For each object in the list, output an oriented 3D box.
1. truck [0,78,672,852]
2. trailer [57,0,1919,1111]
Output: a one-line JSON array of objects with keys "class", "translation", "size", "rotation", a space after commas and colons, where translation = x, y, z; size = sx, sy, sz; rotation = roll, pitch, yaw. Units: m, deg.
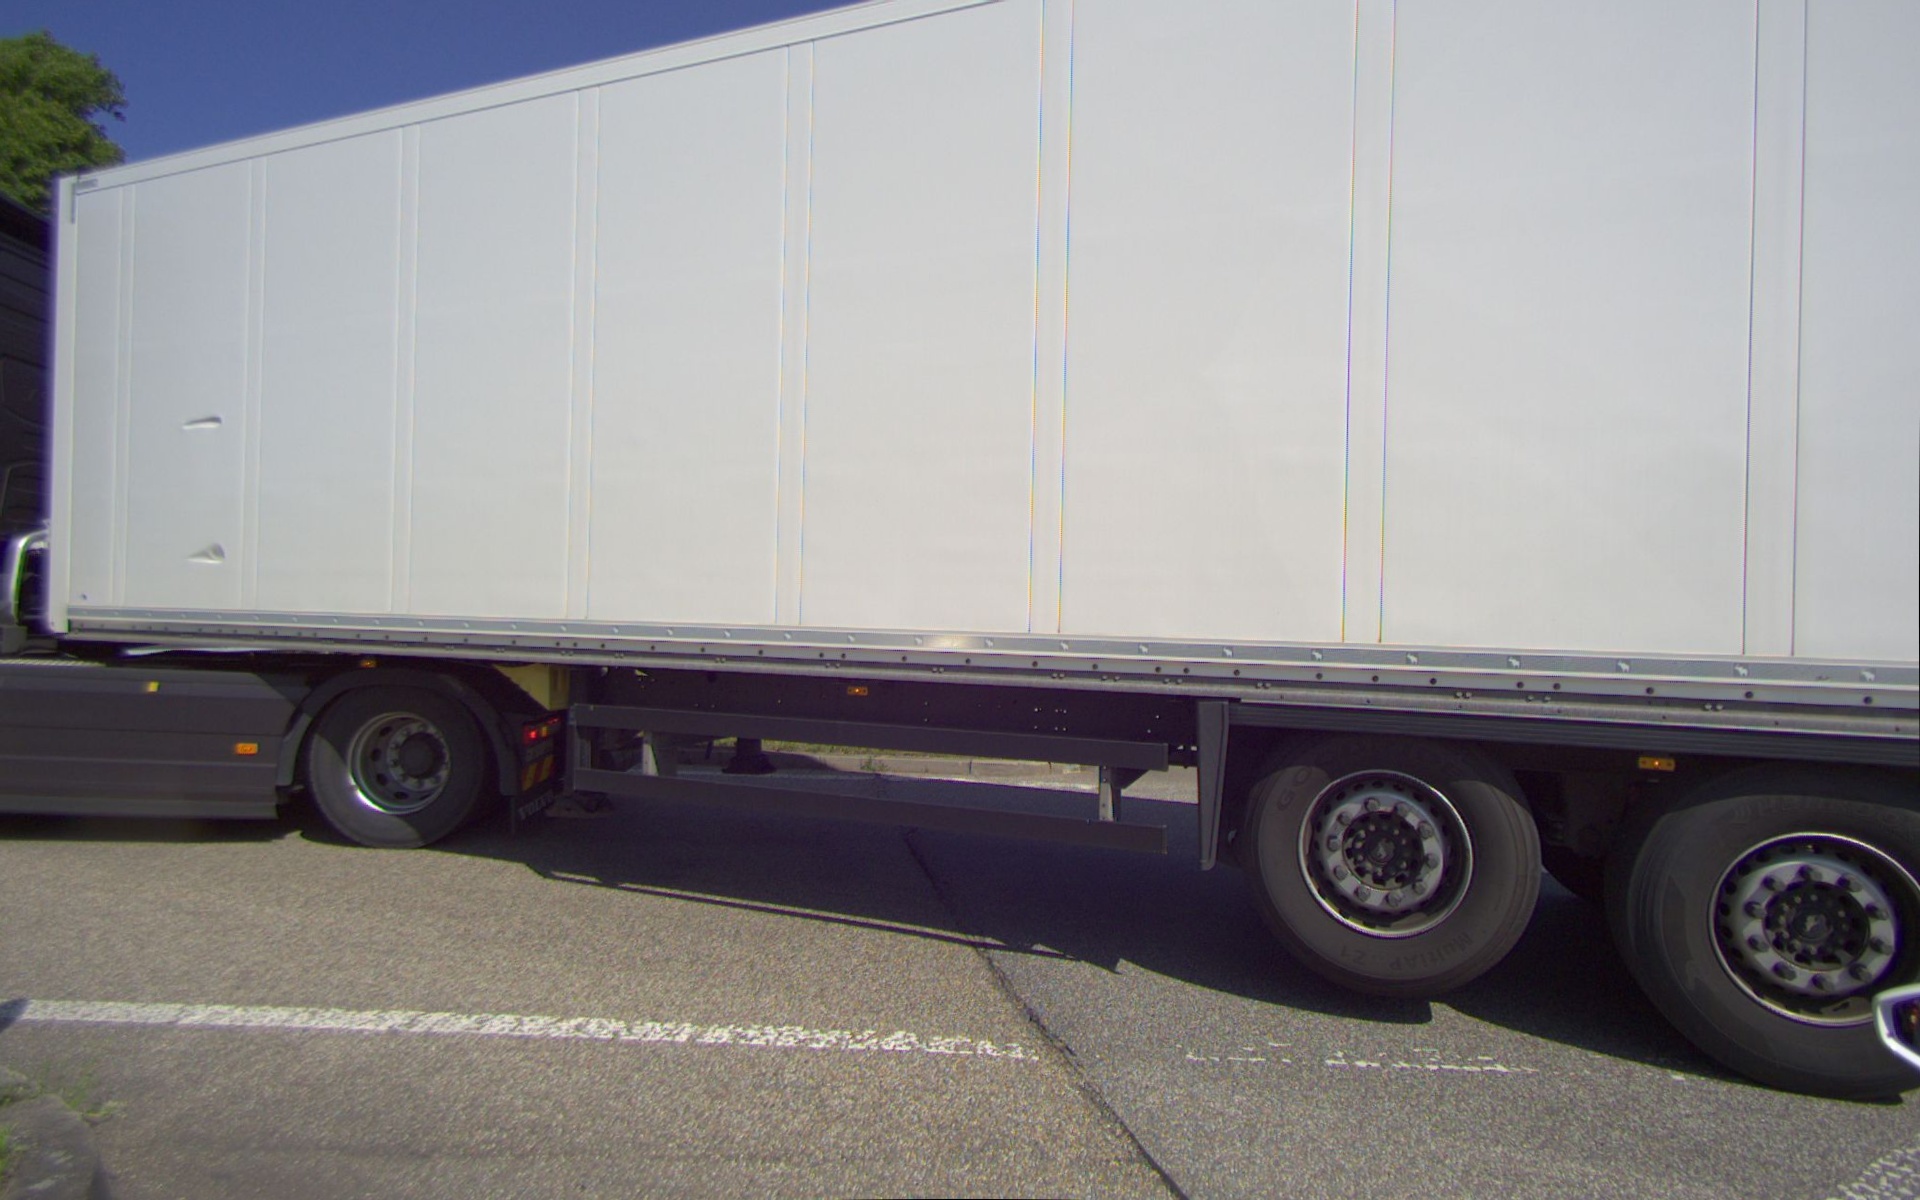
[{"class": "truck", "translation": [-5.301, -0.730, 6.931], "size": [5.855, 4.229, 2.878], "rotation": [0, 0, -3]}, {"class": "trailer", "translation": [1.071, -0.679, 5.145], "size": [13.711, 4.221, 2.895], "rotation": [1, 0, 23]}]
